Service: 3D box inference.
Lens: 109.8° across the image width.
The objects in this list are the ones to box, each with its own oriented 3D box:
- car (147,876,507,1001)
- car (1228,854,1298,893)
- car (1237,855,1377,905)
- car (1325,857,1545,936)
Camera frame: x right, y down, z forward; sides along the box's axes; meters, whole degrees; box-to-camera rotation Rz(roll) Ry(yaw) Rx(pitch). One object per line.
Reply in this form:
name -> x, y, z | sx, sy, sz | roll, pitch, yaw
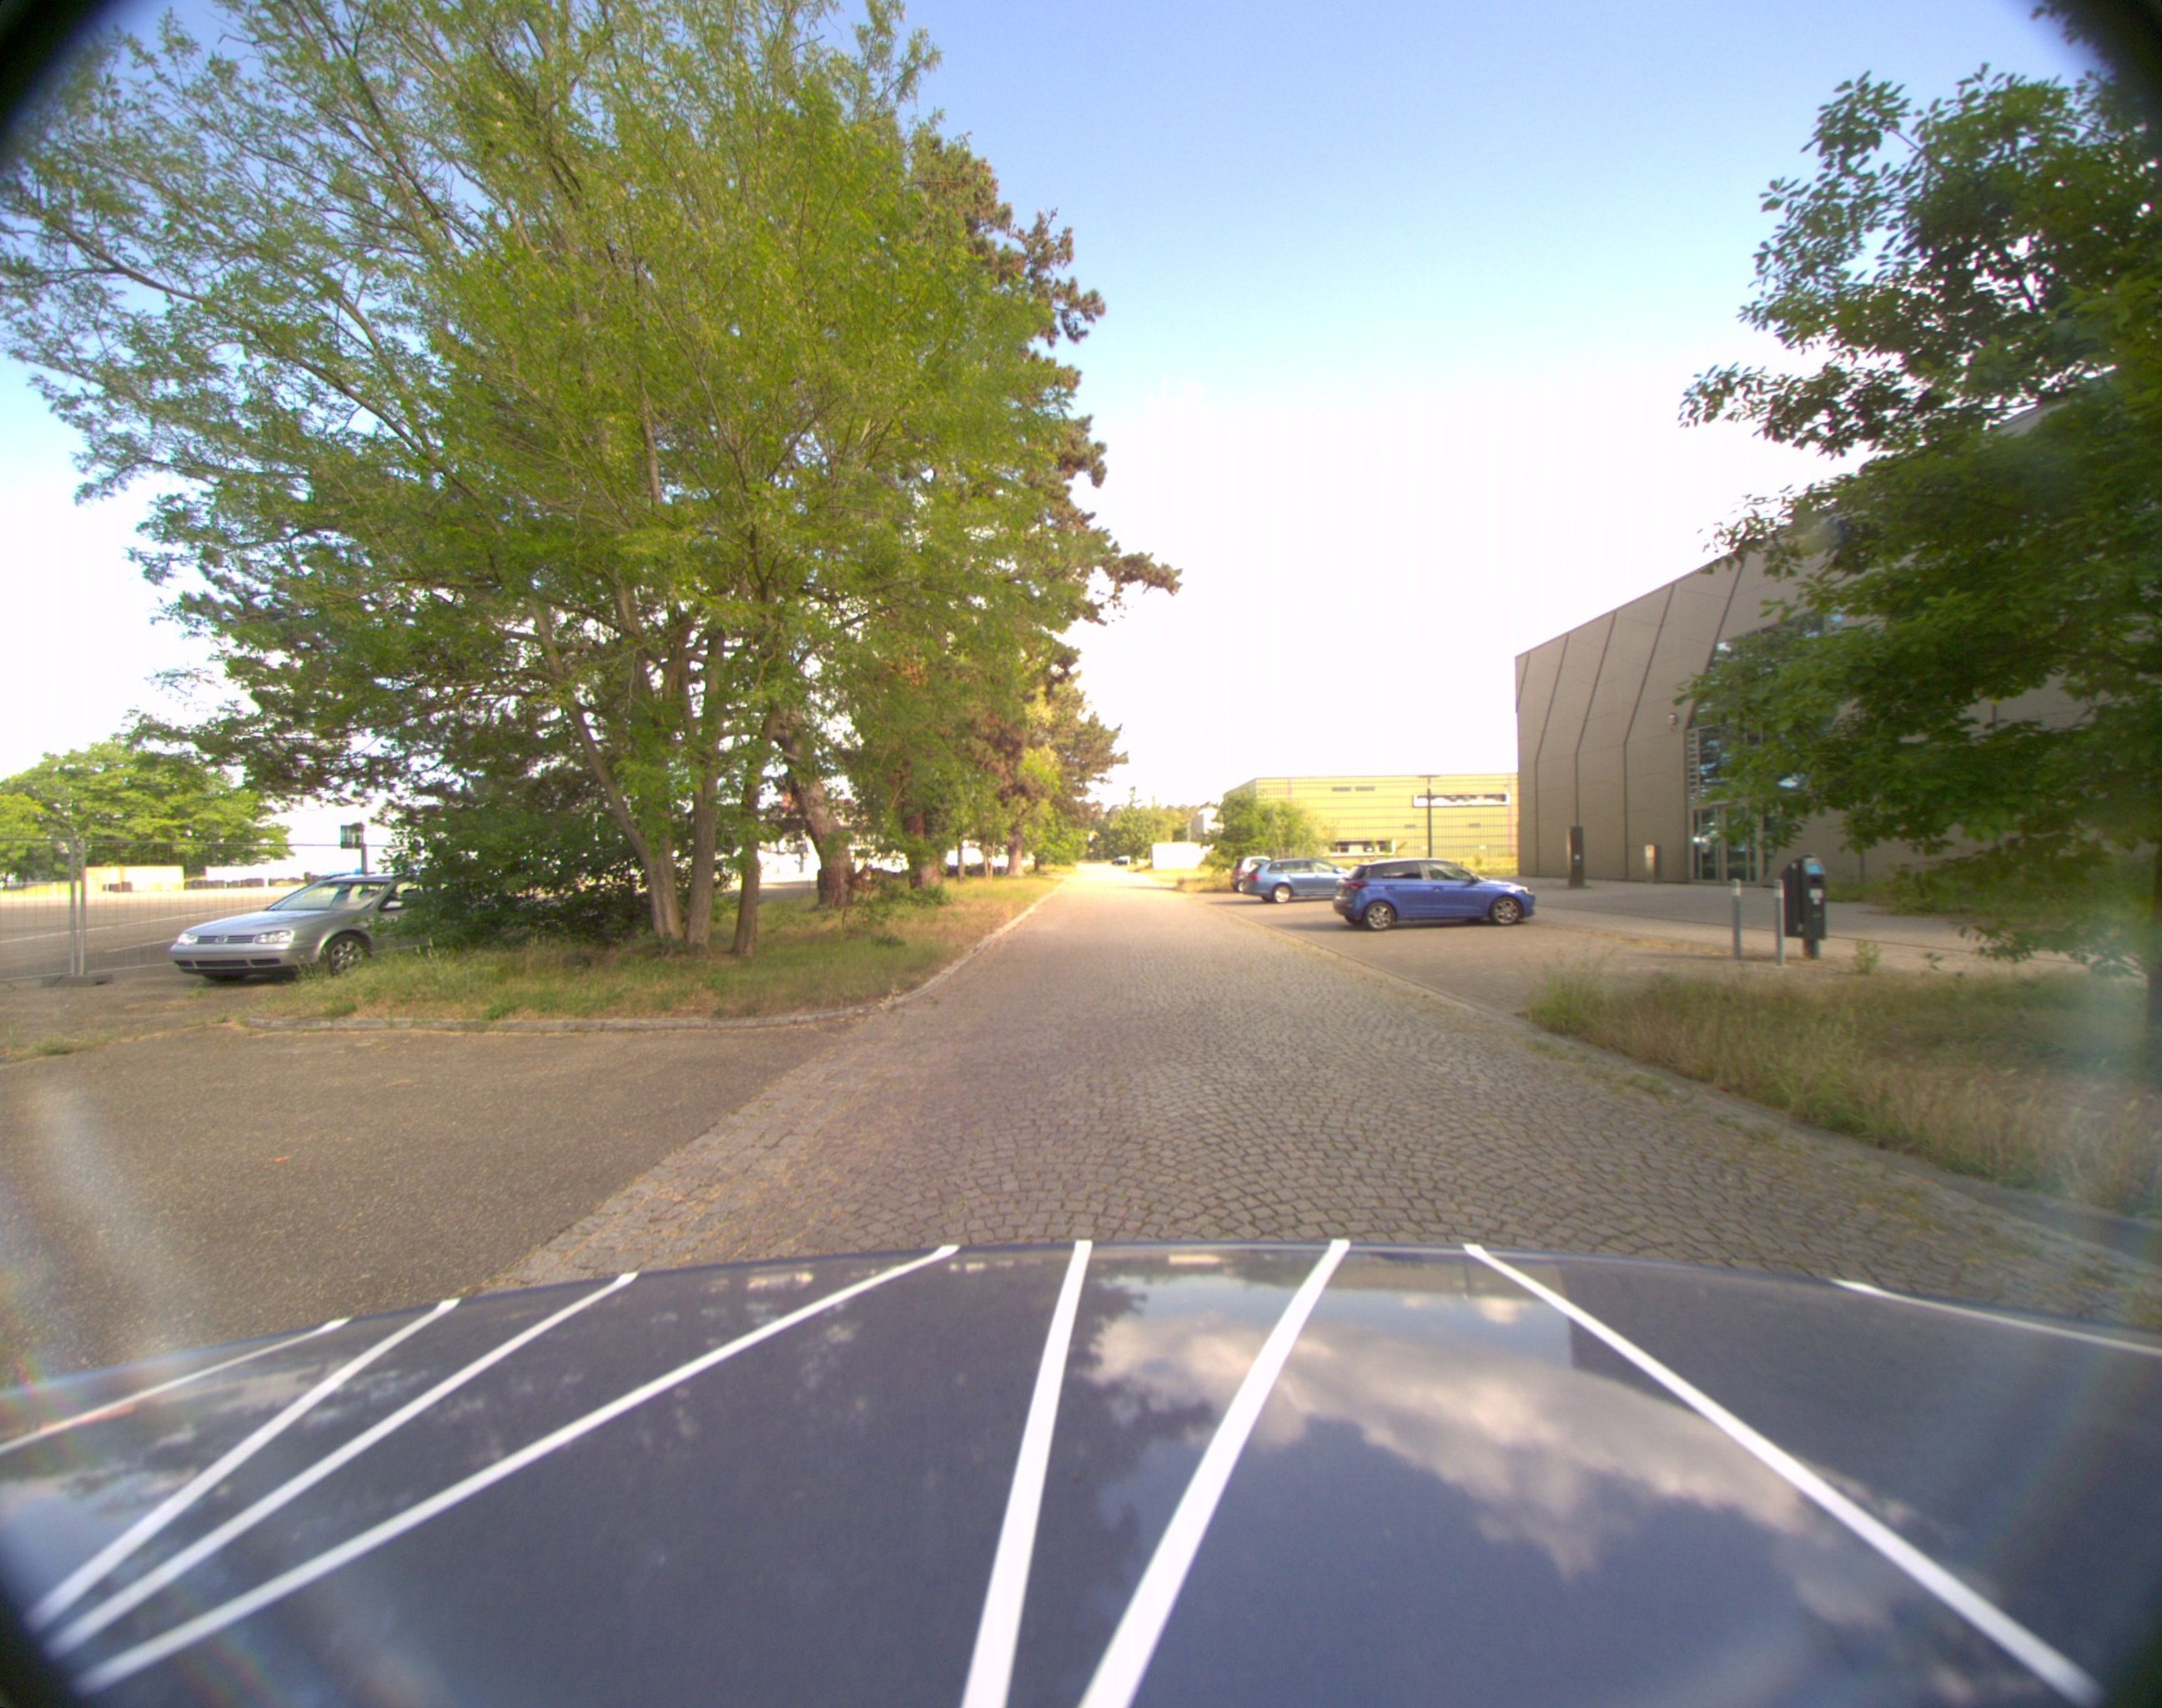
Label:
car -> -11.058, 1.134, 11.624 | 1.578, 1.435, 3.986 | -1, 0, -2
car -> 7.959, 0.847, 33.310 | 2.652, 1.559, 1.482 | -2, 0, 0
car -> 7.639, 0.861, 25.925 | 4.179, 1.465, 1.734 | -2, 0, -1
car -> 7.540, 0.877, 16.468 | 3.917, 1.459, 1.735 | -2, 0, 4
